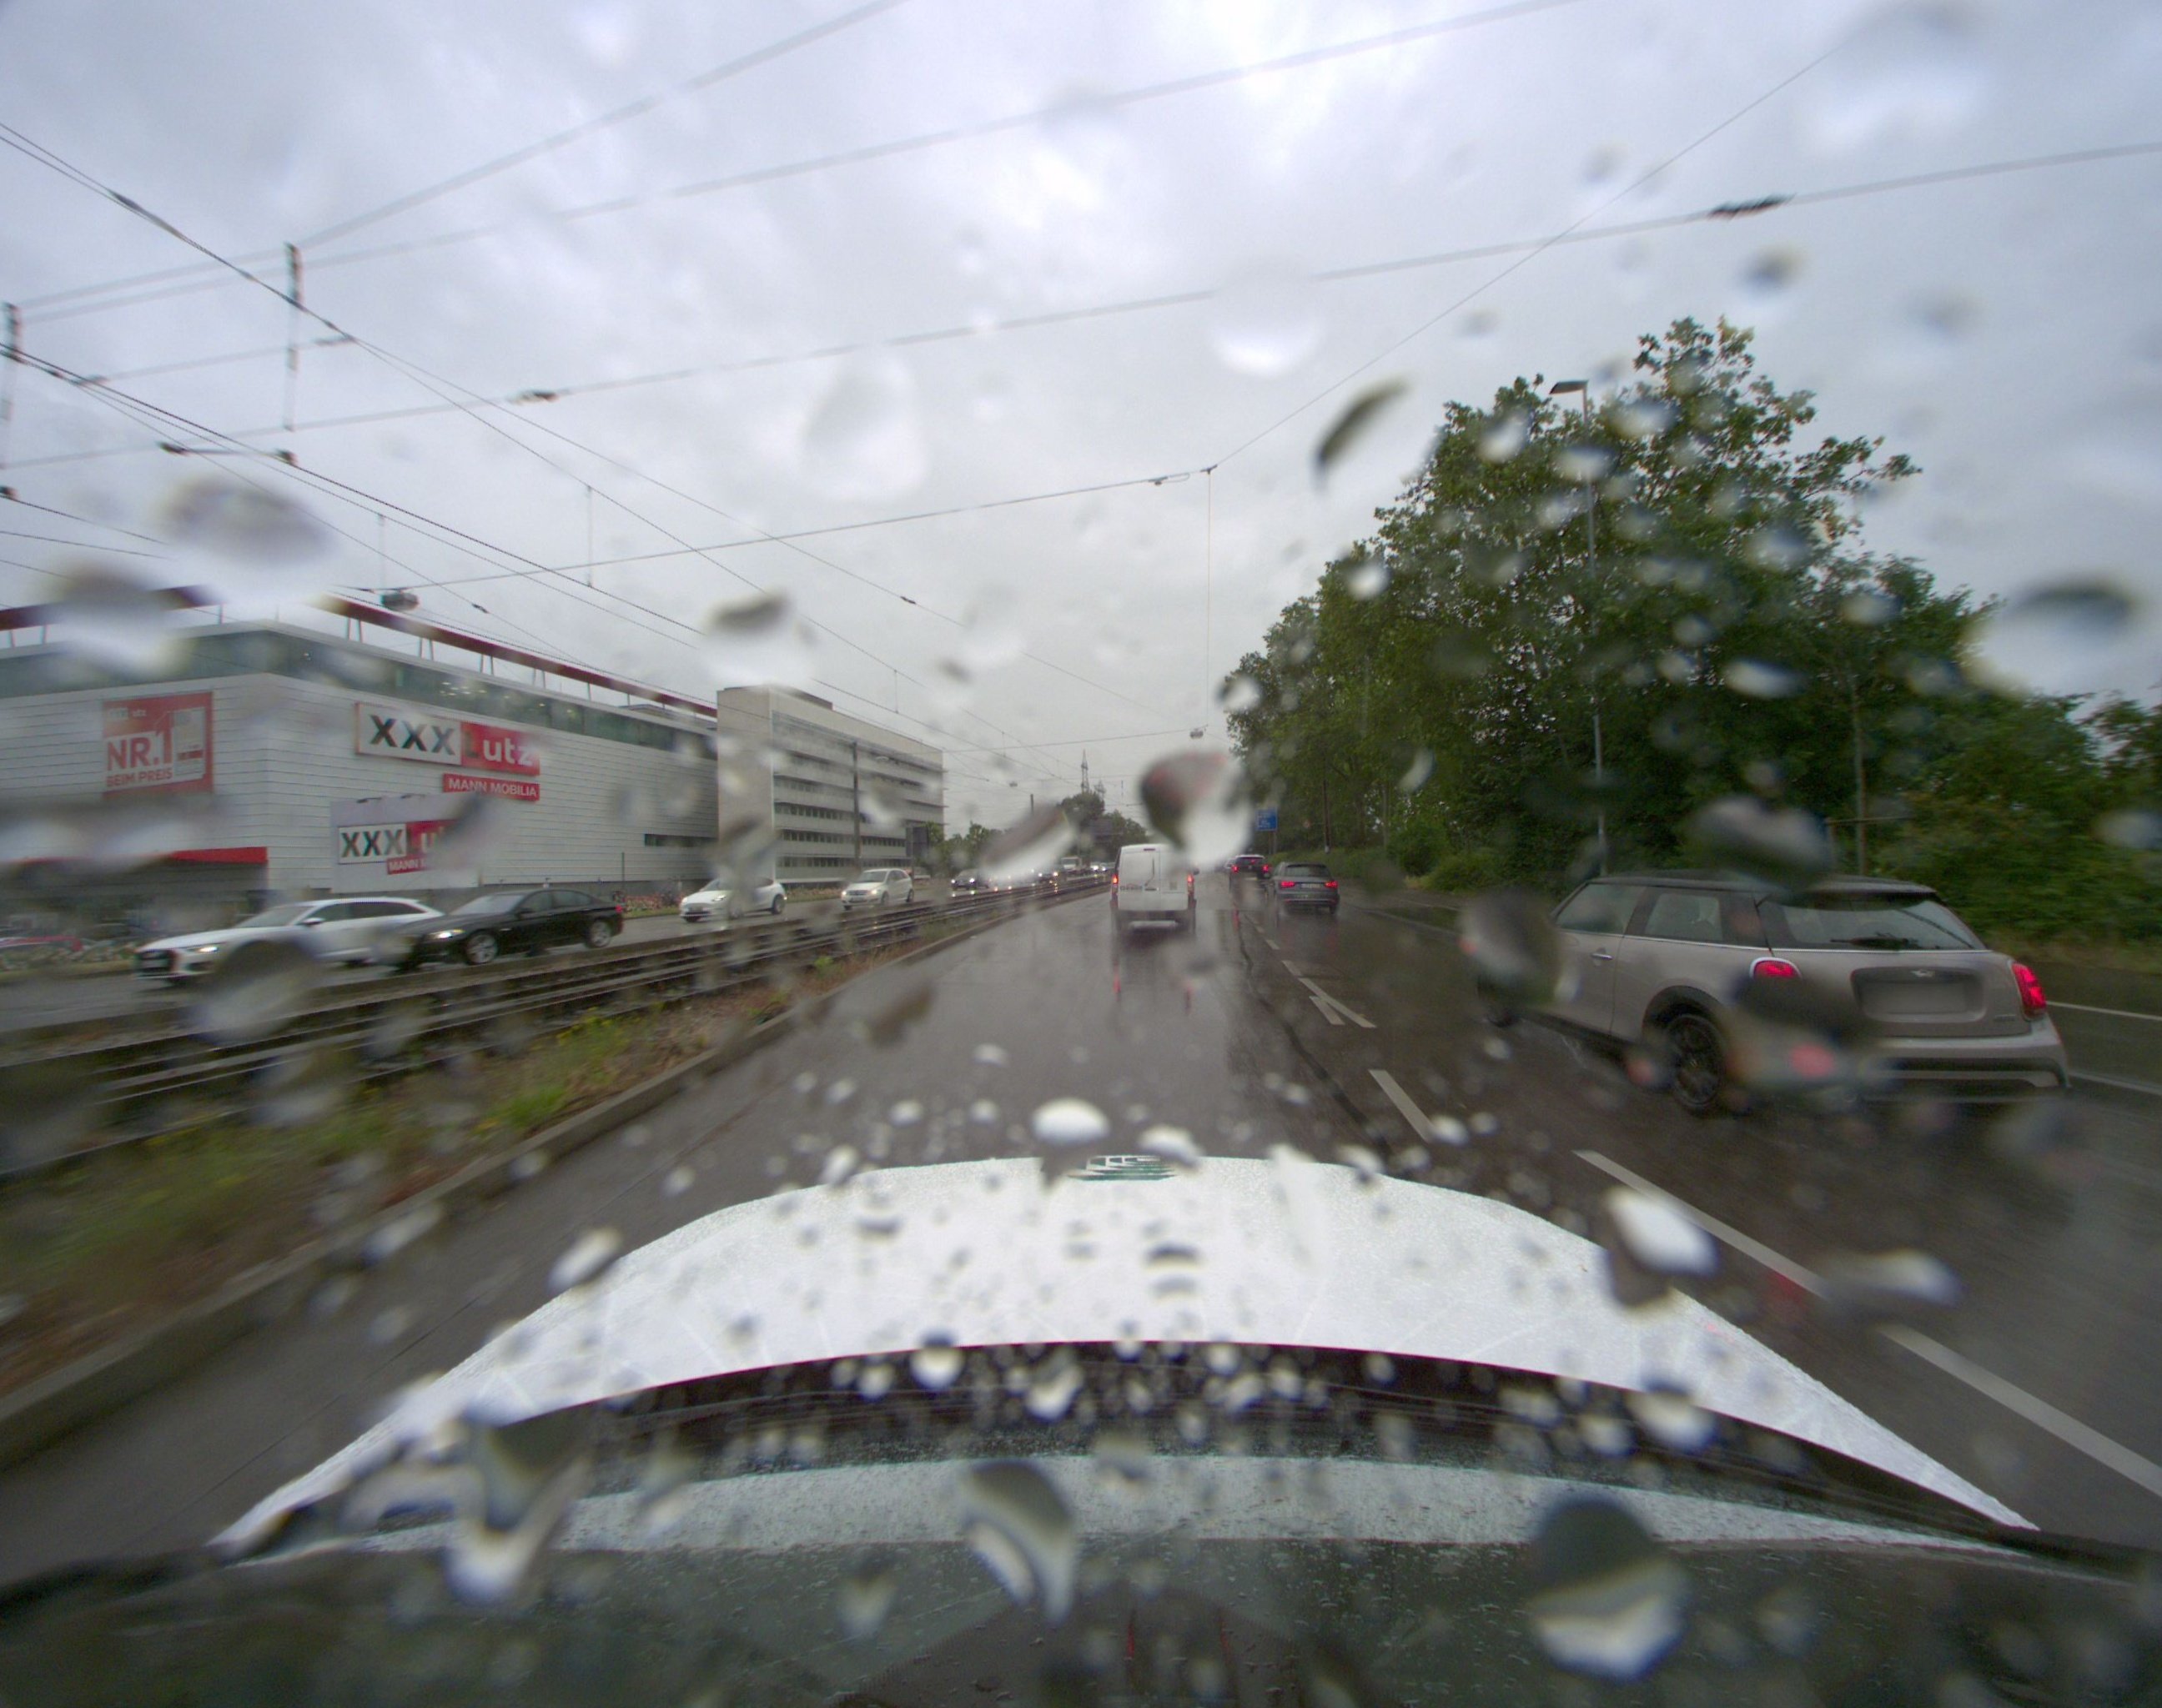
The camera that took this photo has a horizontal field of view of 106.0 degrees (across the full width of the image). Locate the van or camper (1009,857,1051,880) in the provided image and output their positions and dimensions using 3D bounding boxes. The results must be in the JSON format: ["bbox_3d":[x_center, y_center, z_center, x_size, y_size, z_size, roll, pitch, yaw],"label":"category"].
[{"bbox_3d":[-4.518,1.278,73.547,2.289,2.014,5.704,0,0,12],"label":"van or camper"}]

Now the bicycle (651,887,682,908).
[{"bbox_3d":[-22.165,2.315,43.536,0.664,1.016,1.560,0,0,10],"label":"bicycle"}]

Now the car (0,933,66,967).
[{"bbox_3d":[-72.561,6.549,55.315,1.983,2.014,4.007,-1,-1,7],"label":"car"}]

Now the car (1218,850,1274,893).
[{"bbox_3d":[7.165,0.703,35.846,1.890,1.717,4.732,-1,0,5],"label":"car"}]

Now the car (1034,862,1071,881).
[{"bbox_3d":[-2.324,1.439,67.527,1.981,1.457,4.685,-4,-2,10],"label":"car"}]

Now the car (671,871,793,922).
[{"bbox_3d":[-12.986,1.521,30.686,1.896,1.606,4.855,1,0,9],"label":"car"}]

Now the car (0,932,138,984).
[{"bbox_3d":[-48.703,4.925,39.110,1.983,2.014,4.008,0,0,7],"label":"car"}]

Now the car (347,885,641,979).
[{"bbox_3d":[-12.060,1.512,17.317,1.910,1.423,5.099,0,1,11],"label":"car"}]

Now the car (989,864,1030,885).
[{"bbox_3d":[-5.805,1.653,66.671,1.846,1.618,4.923,-3,-1,12],"label":"car"}]

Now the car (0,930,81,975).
[{"bbox_3d":[-55.845,5.172,42.586,1.983,2.014,4.008,0,0,7],"label":"car"}]

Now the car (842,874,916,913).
[{"bbox_3d":[-10.747,2.064,43.721,1.981,1.834,4.707,-2,-1,11],"label":"car"}]

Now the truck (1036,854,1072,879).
[{"bbox_3d":[-2.748,1.265,83.953,2.211,2.462,6.088,0,0,13],"label":"truck"}]

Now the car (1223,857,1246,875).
[{"bbox_3d":[12.695,0.949,67.250,1.807,1.414,3.789,-1,0,11],"label":"car"}]

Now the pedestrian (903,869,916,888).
[{"bbox_3d":[-16.408,2.338,77.798,0.817,1.763,1.053,1,-1,12],"label":"pedestrian"}]

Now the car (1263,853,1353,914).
[{"bbox_3d":[6.249,0.755,22.854,1.956,1.528,4.000,-1,0,8],"label":"car"}]

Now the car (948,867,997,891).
[{"bbox_3d":[-7.617,1.725,57.579,1.951,1.516,4.568,-4,-1,11],"label":"car"}]

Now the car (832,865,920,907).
[{"bbox_3d":[-8.571,1.294,34.485,1.861,1.573,4.342,0,1,12],"label":"car"}]

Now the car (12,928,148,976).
[{"bbox_3d":[-52.026,5.069,42.453,1.983,2.014,4.008,0,0,7],"label":"car"}]

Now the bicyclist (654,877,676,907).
[{"bbox_3d":[-22.184,2.017,43.426,0.667,1.589,0.794,0,-1,10],"label":"bicyclist"}]

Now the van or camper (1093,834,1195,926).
[{"bbox_3d":[1.494,0.487,17.968,1.983,1.784,4.009,0,1,7],"label":"van or camper"}]

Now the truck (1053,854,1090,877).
[{"bbox_3d":[-1.011,1.274,93.040,2.418,2.458,7.245,0,0,13],"label":"truck"}]

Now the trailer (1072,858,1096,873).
[{"bbox_3d":[0.419,1.431,99.150,2.105,1.793,3.849,0,0,13],"label":"trailer"}]

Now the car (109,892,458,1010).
[{"bbox_3d":[-15.895,1.803,16.710,1.981,1.901,4.804,-1,-1,10],"label":"car"}]

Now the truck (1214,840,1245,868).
[{"bbox_3d":[15.487,0.011,85.142,3.094,2.773,6.346,-1,0,10],"label":"truck"}]

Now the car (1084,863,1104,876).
[{"bbox_3d":[1.751,2.013,107.026,1.759,1.682,4.705,0,0,12],"label":"car"}]

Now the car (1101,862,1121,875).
[{"bbox_3d":[3.735,1.770,100.999,1.847,1.494,4.702,-3,-1,10],"label":"car"}]

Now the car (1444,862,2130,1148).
[{"bbox_3d":[4.416,0.800,6.040,1.784,1.414,3.855,-1,-1,1],"label":"car"}]
